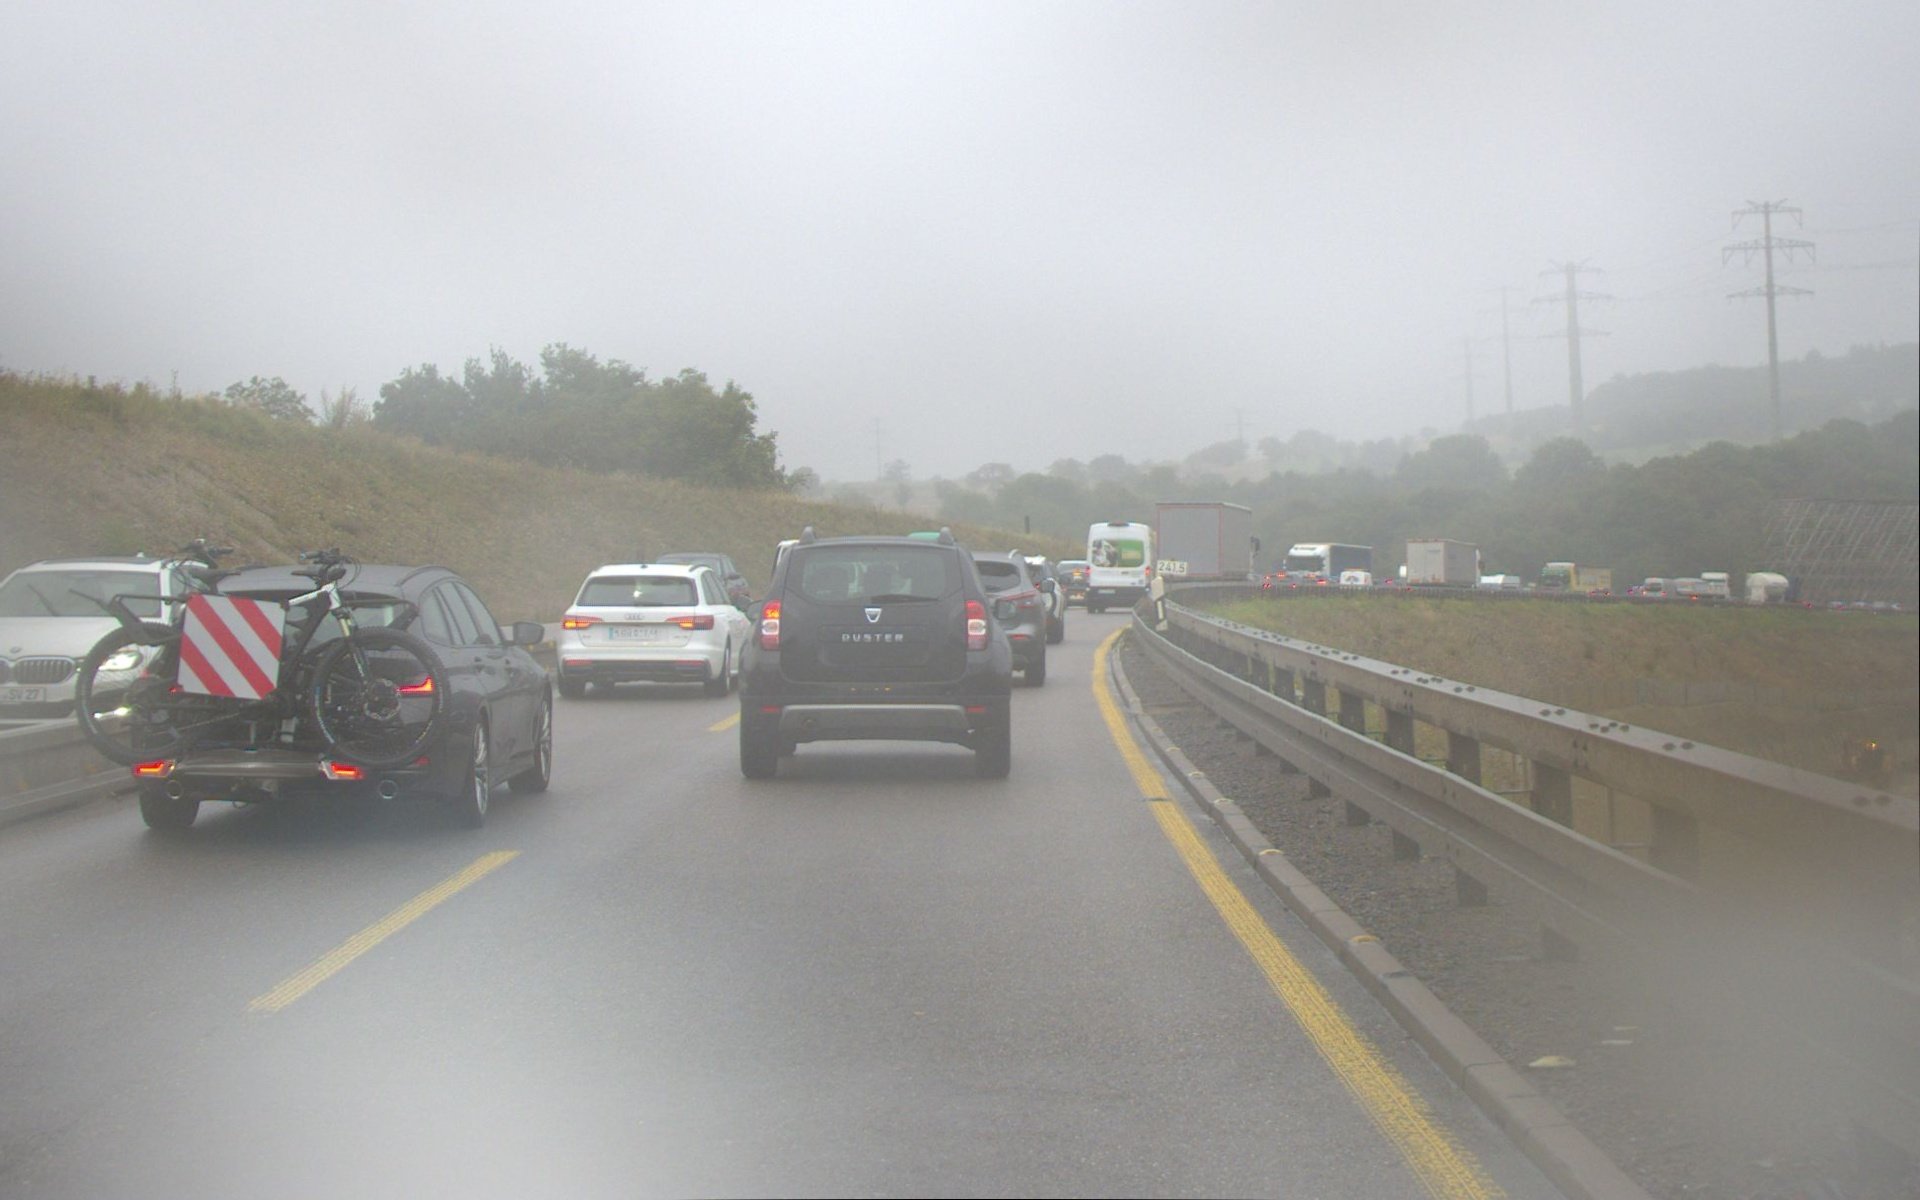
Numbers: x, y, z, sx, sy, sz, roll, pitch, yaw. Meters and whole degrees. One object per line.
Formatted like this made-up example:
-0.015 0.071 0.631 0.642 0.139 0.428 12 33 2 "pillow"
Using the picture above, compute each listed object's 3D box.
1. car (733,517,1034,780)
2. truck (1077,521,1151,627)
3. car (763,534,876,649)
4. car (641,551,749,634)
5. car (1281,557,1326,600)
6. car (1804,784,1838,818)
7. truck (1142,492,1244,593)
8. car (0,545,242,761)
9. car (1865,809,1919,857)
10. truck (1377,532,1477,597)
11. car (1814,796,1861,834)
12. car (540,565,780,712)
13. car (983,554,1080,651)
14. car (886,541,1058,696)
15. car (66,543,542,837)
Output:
-0.439 0.289 23.466 1.804 1.640 3.776 0 0 3 "car"
4.831 -0.837 107.376 2.149 3.155 6.459 1 1 3 "truck"
-2.399 -0.164 59.456 1.660 1.873 4.020 1 1 1 "car"
-5.371 -0.180 70.223 1.811 1.587 4.902 -1 1 0 "car"
15.755 -0.983 157.536 1.775 1.909 3.999 1 1 9 "car"
60.534 14.122 241.663 1.995 2.007 3.996 2 1 18 "car"
9.189 -2.217 134.733 3.201 3.748 8.506 1 1 8 "truck"
-7.461 0.379 28.428 2.045 1.627 4.990 0 0 -1 "car"
46.456 11.542 170.460 2.365 2.007 3.999 1 1 5 "car"
31.701 -2.361 232.471 4.721 4.135 15.671 2 1 15 "truck"
48.037 11.766 188.186 1.994 1.809 3.999 1 0 7 "car"
-3.195 0.367 37.473 1.868 1.455 4.548 1 1 4 "car"
1.249 0.017 61.687 1.530 1.635 4.013 1 1 -1 "car"
0.191 0.185 40.675 1.868 1.703 4.000 1 1 2 "car"
-3.529 0.436 19.179 1.829 1.471 3.776 0 0 2 "car"
